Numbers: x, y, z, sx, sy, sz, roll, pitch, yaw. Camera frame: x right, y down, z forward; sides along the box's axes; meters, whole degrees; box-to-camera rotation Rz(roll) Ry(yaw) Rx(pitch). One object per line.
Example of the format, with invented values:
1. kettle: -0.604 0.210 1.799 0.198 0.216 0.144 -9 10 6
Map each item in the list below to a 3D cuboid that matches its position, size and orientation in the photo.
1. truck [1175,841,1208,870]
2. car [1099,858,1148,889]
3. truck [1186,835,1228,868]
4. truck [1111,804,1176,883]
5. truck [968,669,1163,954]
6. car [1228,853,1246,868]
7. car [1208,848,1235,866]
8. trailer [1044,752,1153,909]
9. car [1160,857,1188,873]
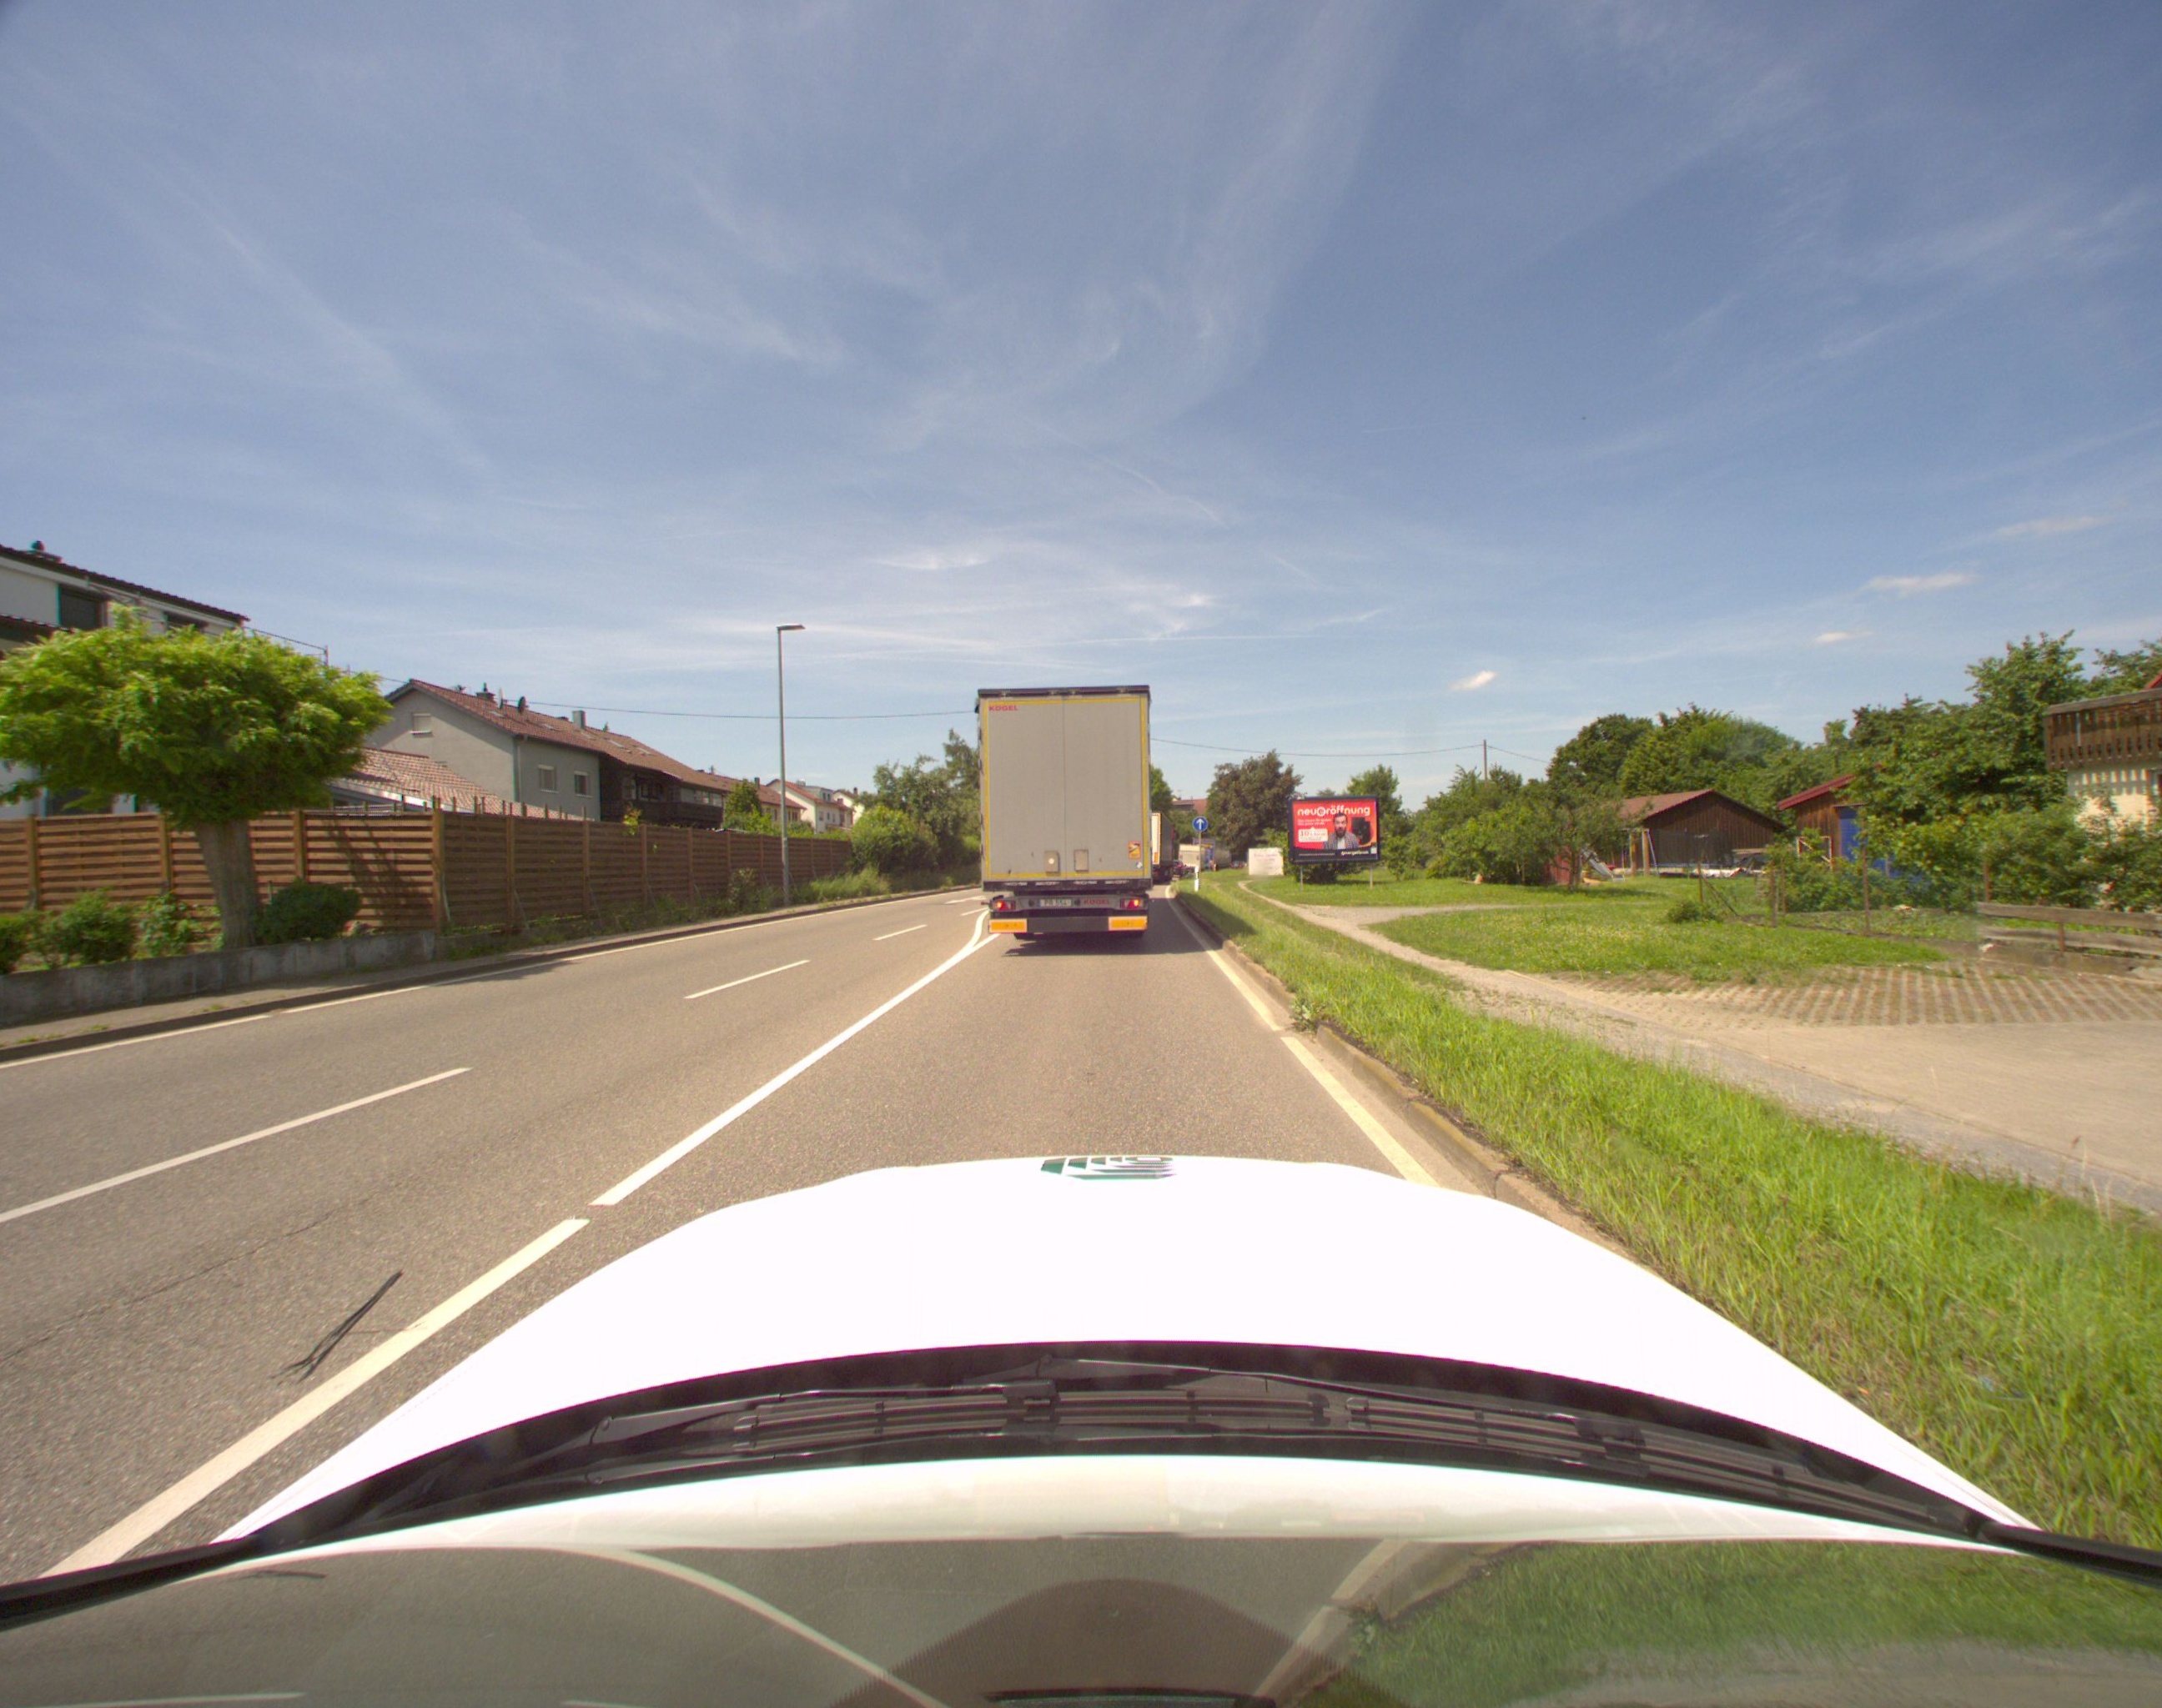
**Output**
1. truck: 11.298 0.178 82.799 2.524 2.803 6.057 -1 -1 16
2. car: 2.011 0.859 37.151 1.808 1.346 3.857 0 -1 9
3. truck: 14.693 -0.302 94.144 3.406 3.604 9.395 -1 0 17
4. truck: 4.312 -0.460 52.146 2.744 4.289 16.456 0 -1 9
5. truck: 0.171 -0.629 17.606 2.809 4.127 11.456 0 0 4
6. car: 22.249 0.911 115.947 1.978 2.014 4.018 -1 -1 17
7. car: 18.087 0.327 104.573 2.512 2.277 6.410 -1 0 17
8. trailer: 0.676 -0.632 24.780 2.813 4.111 6.550 -1 0 4
9. car: 8.238 0.979 71.909 1.979 1.376 4.014 -1 -1 13
